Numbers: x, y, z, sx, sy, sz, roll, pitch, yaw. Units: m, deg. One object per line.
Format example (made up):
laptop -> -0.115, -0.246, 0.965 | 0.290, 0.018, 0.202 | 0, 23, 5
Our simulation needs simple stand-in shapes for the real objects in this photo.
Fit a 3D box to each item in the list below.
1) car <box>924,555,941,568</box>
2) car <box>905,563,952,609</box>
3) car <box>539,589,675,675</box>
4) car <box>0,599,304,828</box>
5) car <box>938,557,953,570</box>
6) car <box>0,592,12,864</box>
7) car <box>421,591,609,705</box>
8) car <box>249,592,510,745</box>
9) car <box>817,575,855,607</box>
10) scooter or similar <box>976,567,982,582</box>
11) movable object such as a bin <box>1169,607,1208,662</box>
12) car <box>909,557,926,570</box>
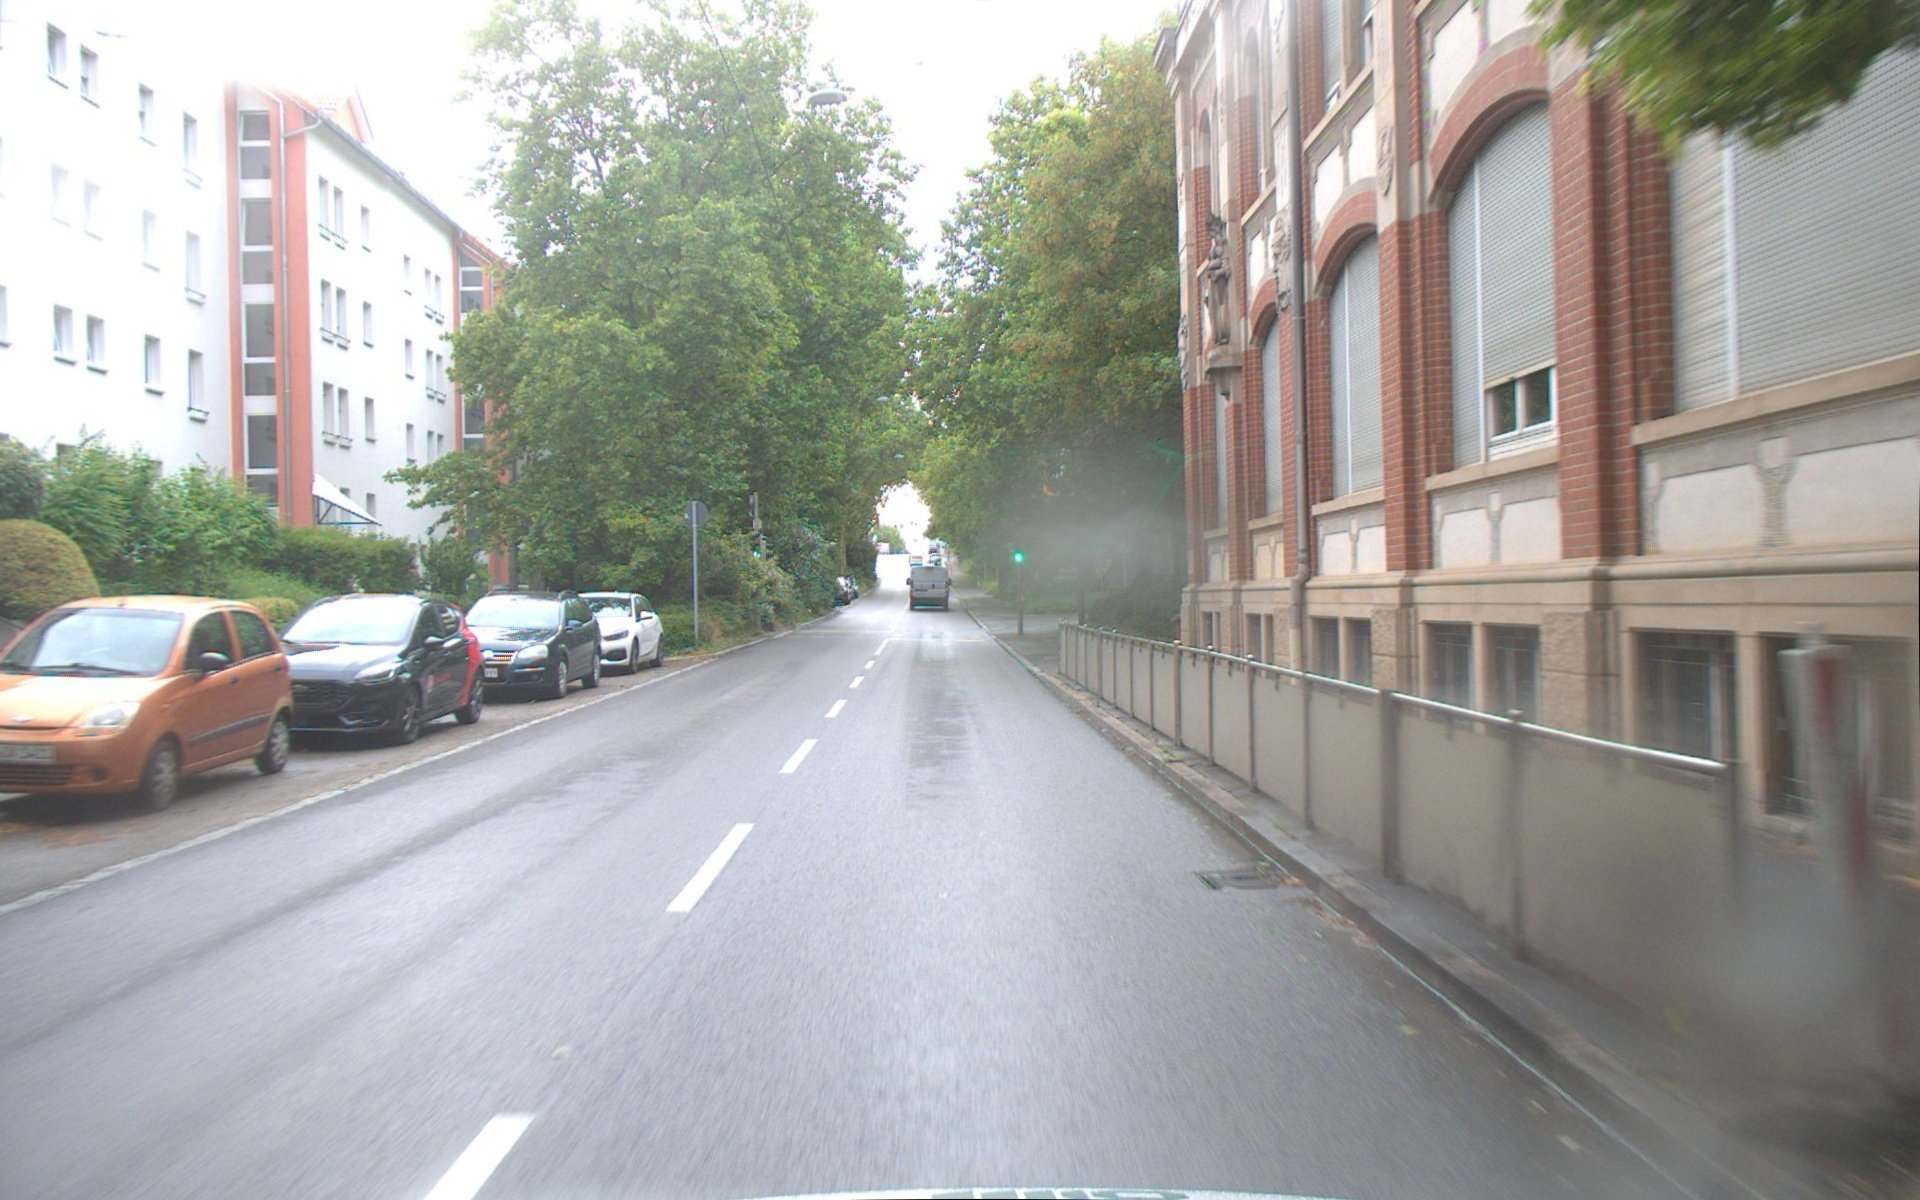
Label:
car -> -3.806, -5.372, 232.499 | 2.103, 1.739, 3.874 | 1, -1, 3
car -> -1.603, -0.713, 85.659 | 2.288, 2.270, 3.999 | -2, 0, -1
car -> -6.570, 0.545, 31.204 | 1.682, 1.493, 4.309 | 0, 0, 0
car -> -6.402, 0.751, 12.662 | 1.524, 1.493, 3.395 | 0, 0, -3
car -> -2.077, -5.271, 240.622 | 1.890, 1.739, 3.874 | 1, -1, 3
car -> -6.141, 0.741, 7.003 | 1.682, 1.536, 4.801 | 0, 0, -3
car -> -6.315, 0.620, 23.941 | 1.682, 1.493, 4.232 | 0, 0, -2
car -> -6.249, 0.669, 18.234 | 1.682, 1.493, 3.754 | 0, 0, -3
car -> -6.986, -0.546, 93.322 | 1.827, 1.618, 4.239 | -3, 1, -1
scooter or similar -> 1.542, -2.073, 135.472 | 0.417, 1.162, 1.528 | 1, -1, -3
movable object such as a bin -> 4.083, 0.611, 29.568 | 0.578, 0.949, 0.572 | -3, 0, -2
car -> -6.142, -5.337, 240.723 | 2.114, 1.739, 3.874 | 1, -1, 3
